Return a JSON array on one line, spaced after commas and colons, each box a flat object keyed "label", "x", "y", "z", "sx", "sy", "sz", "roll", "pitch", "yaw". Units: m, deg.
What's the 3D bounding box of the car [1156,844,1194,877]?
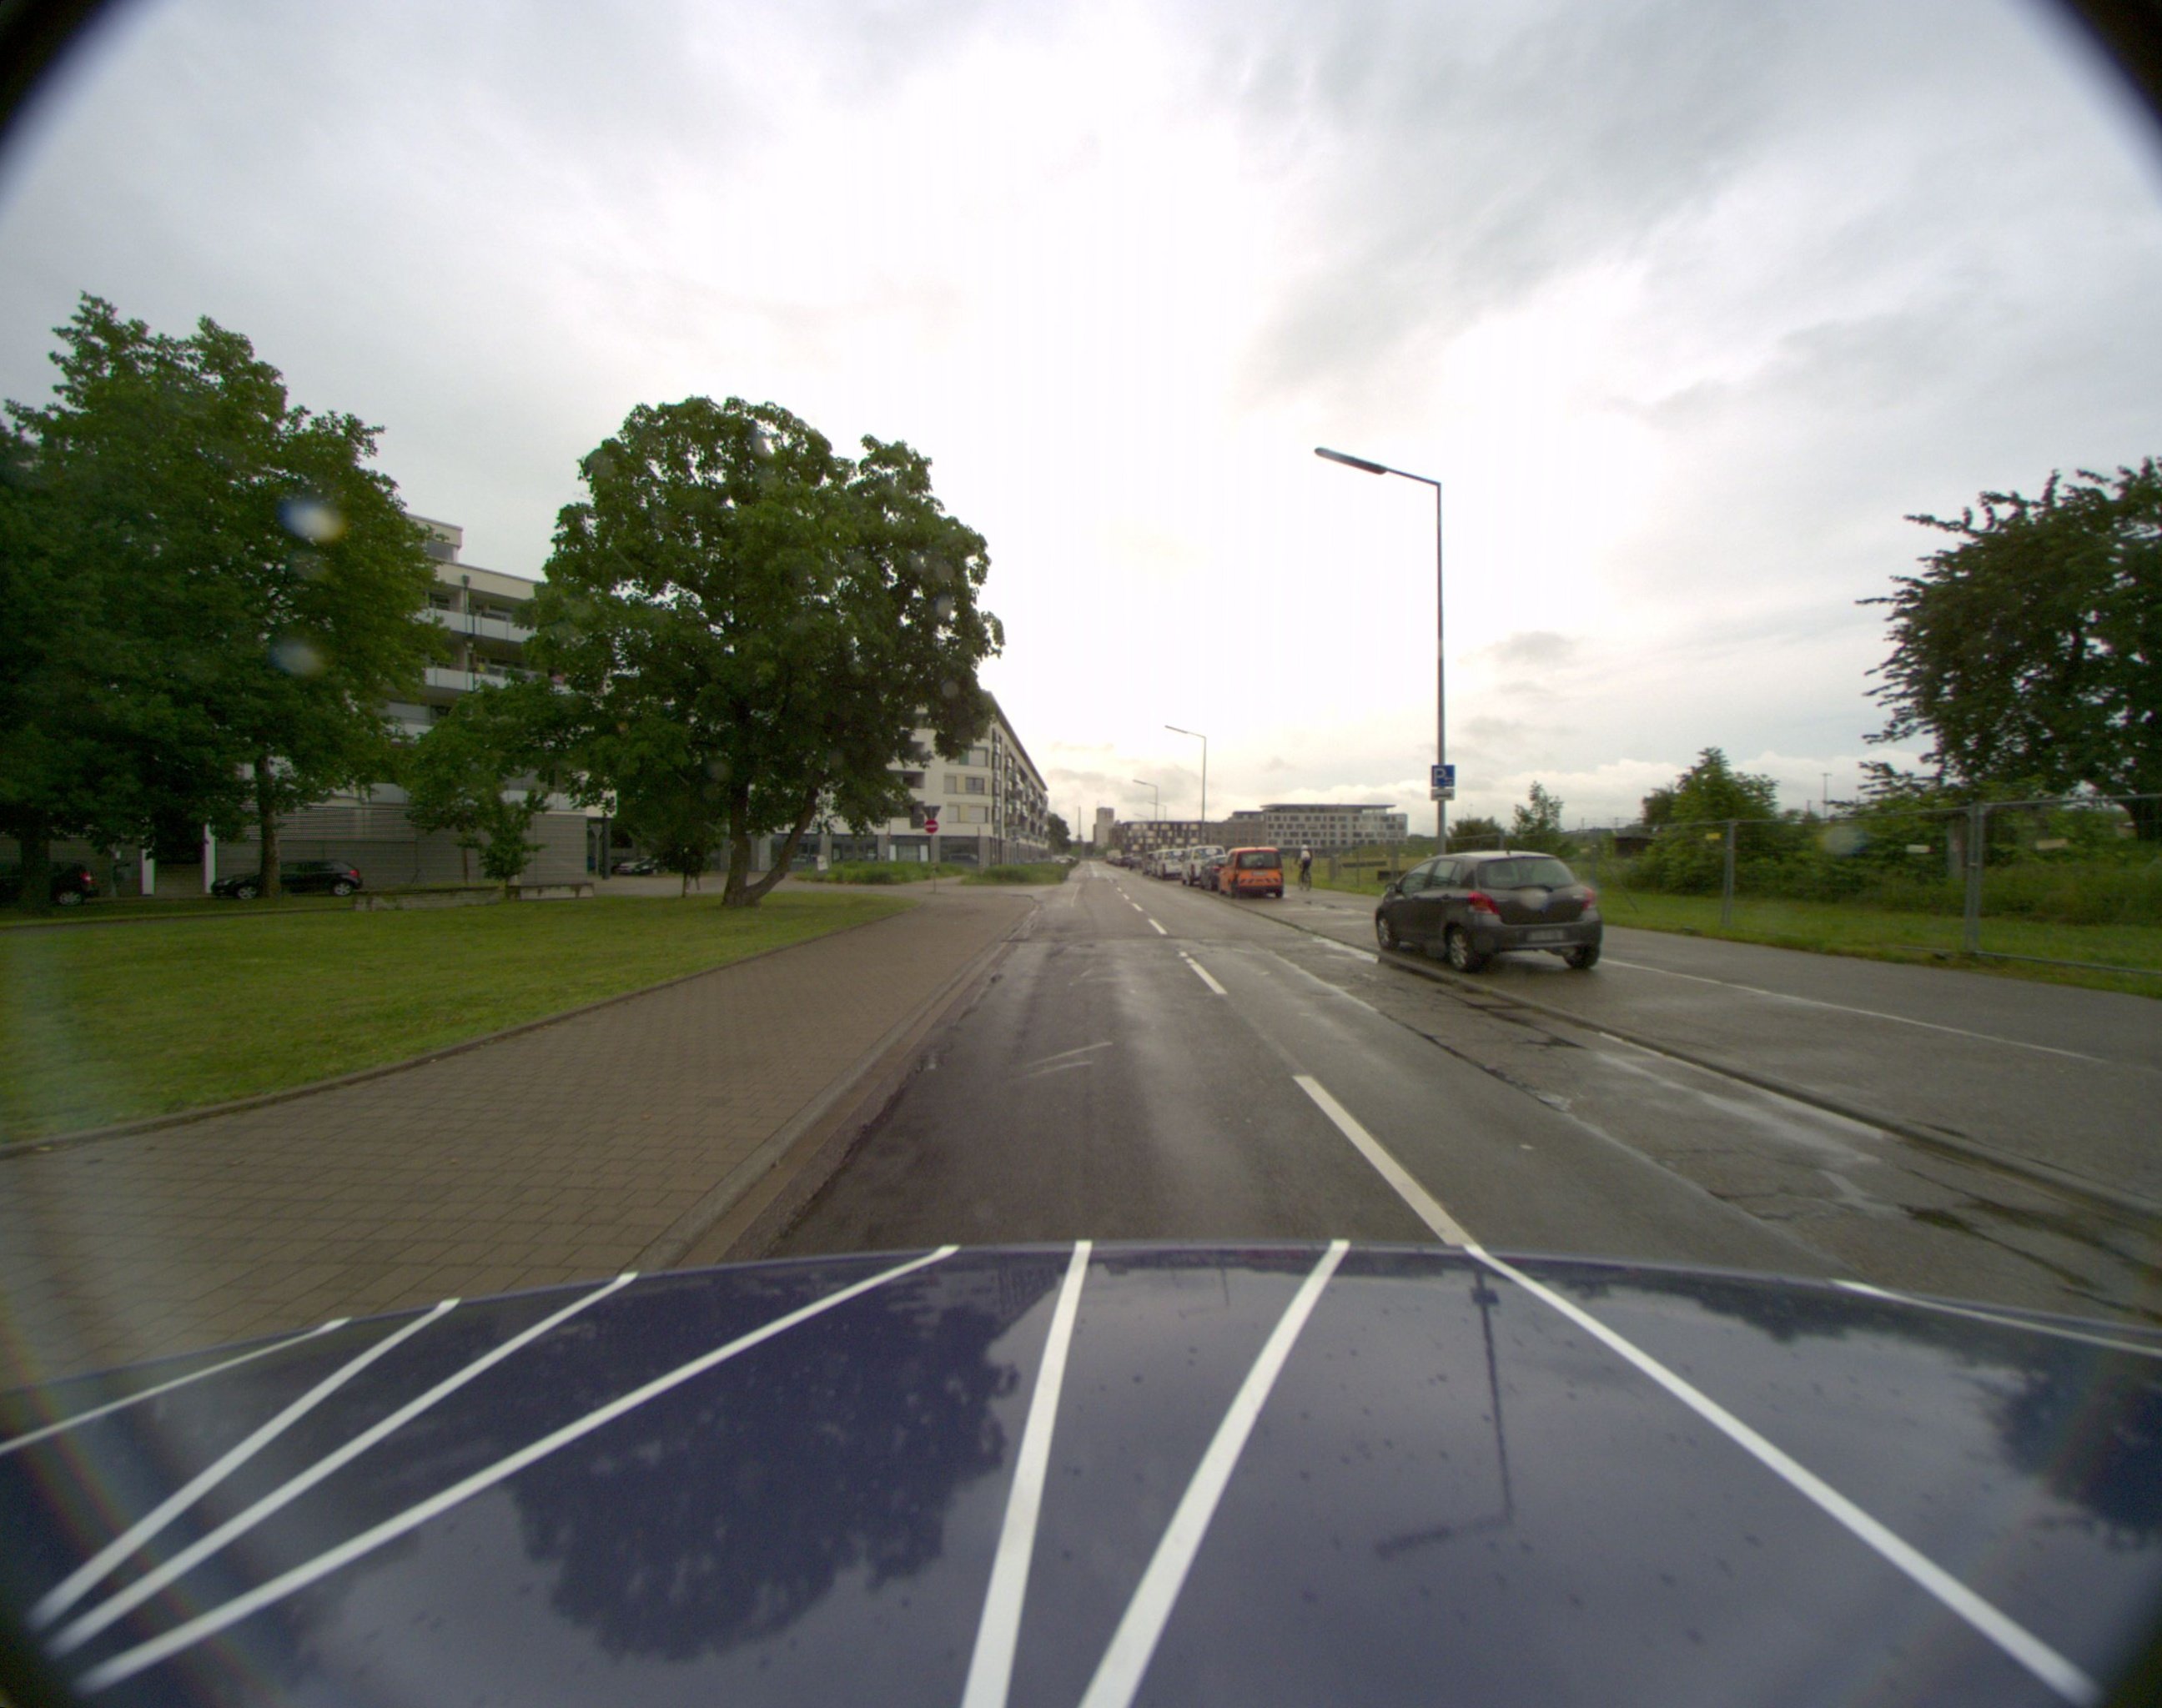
[{"label": "car", "x": 6.209, "y": 0.435, "z": 50.763, "sx": 1.964, "sy": 2.046, "sz": 5.274, "roll": -1, "pitch": 0, "yaw": 1}]

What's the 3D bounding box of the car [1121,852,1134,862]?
[{"label": "car", "x": 7.048, "y": 0.460, "z": 115.982, "sx": 1.757, "sy": 1.581, "sz": 4.133, "roll": 0, "pitch": 0, "yaw": 1}]

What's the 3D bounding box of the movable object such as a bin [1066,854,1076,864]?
[{"label": "movable object such as a bin", "x": -1.556, "y": 0.766, "z": 116.371, "sx": 1.499, "sy": 1.484, "sz": 1.155, "roll": 2, "pitch": 0, "yaw": 1}]

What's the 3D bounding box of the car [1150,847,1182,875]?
[{"label": "car", "x": 6.338, "y": 0.511, "z": 56.960, "sx": 1.899, "sy": 2.002, "sz": 5.258, "roll": 0, "pitch": 0, "yaw": 1}]

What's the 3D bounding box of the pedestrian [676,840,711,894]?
[{"label": "pedestrian", "x": -14.458, "y": 0.494, "z": 28.348, "sx": 0.967, "sy": 2.002, "sz": 0.622, "roll": 0, "pitch": 0, "yaw": 1}]

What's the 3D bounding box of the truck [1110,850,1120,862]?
[{"label": "truck", "x": 7.799, "y": 0.407, "z": 174.892, "sx": 2.180, "sy": 2.591, "sz": 6.131, "roll": -1, "pitch": 0, "yaw": 1}]

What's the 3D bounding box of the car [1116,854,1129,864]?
[{"label": "car", "x": 6.951, "y": 0.746, "z": 127.339, "sx": 1.842, "sy": 1.519, "sz": 4.670, "roll": -2, "pitch": 1, "yaw": 1}]

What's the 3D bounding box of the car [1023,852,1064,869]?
[{"label": "car", "x": -3.904, "y": 0.649, "z": 79.597, "sx": 4.100, "sy": 1.614, "sz": 1.966, "roll": 2, "pitch": 1, "yaw": -1}]

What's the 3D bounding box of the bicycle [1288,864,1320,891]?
[{"label": "bicycle", "x": 9.261, "y": 0.947, "z": 31.604, "sx": 0.718, "sy": 1.036, "sz": 2.144, "roll": -1, "pitch": 0, "yaw": 1}]

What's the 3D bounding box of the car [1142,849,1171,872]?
[{"label": "car", "x": 6.297, "y": 0.535, "z": 64.004, "sx": 1.961, "sy": 1.890, "sz": 4.995, "roll": -1, "pitch": 0, "yaw": 1}]

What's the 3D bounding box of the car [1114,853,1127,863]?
[{"label": "car", "x": 6.981, "y": 0.629, "z": 134.243, "sx": 1.857, "sy": 1.598, "sz": 4.988, "roll": -3, "pitch": 0, "yaw": 0}]

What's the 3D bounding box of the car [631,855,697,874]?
[{"label": "car", "x": -33.426, "y": 0.805, "z": 61.038, "sx": 1.809, "sy": 1.424, "sz": 4.531, "roll": 0, "pitch": 0, "yaw": 23}]

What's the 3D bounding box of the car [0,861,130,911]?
[{"label": "car", "x": -34.027, "y": 1.009, "z": 24.590, "sx": 1.729, "sy": 1.539, "sz": 4.009, "roll": 0, "pitch": 0, "yaw": 40}]

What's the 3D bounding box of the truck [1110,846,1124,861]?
[{"label": "truck", "x": 7.252, "y": -0.108, "z": 154.854, "sx": 2.442, "sy": 3.050, "sz": 6.700, "roll": -2, "pitch": 0, "yaw": 0}]

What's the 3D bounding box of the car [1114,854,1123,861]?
[{"label": "car", "x": 7.253, "y": 0.673, "z": 147.096, "sx": 1.676, "sy": 1.454, "sz": 4.157, "roll": 0, "pitch": 0, "yaw": 1}]

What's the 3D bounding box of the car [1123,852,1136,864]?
[{"label": "car", "x": 7.038, "y": 0.641, "z": 110.283, "sx": 1.756, "sy": 1.683, "sz": 4.882, "roll": 0, "pitch": 0, "yaw": 4}]

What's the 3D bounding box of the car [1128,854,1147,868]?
[{"label": "car", "x": 6.573, "y": 0.783, "z": 88.758, "sx": 1.852, "sy": 1.552, "sz": 4.152, "roll": -3, "pitch": 0, "yaw": 1}]

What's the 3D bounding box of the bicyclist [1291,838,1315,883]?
[{"label": "bicyclist", "x": 9.248, "y": 0.280, "z": 31.670, "sx": 0.700, "sy": 1.819, "sz": 1.008, "roll": -1, "pitch": 0, "yaw": 1}]

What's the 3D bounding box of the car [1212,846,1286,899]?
[{"label": "car", "x": 6.053, "y": 0.620, "z": 27.853, "sx": 1.944, "sy": 1.757, "sz": 4.331, "roll": 0, "pitch": 0, "yaw": 2}]

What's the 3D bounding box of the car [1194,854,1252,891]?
[{"label": "car", "x": 6.218, "y": 0.769, "z": 33.820, "sx": 1.688, "sy": 1.493, "sz": 4.892, "roll": 0, "pitch": 0, "yaw": 0}]

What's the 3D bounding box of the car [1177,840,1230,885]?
[{"label": "car", "x": 6.364, "y": 0.425, "z": 40.083, "sx": 1.947, "sy": 2.223, "sz": 5.557, "roll": 0, "pitch": 0, "yaw": 0}]

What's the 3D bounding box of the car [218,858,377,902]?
[{"label": "car", "x": -30.116, "y": 0.940, "z": 29.327, "sx": 1.729, "sy": 1.539, "sz": 4.130, "roll": 0, "pitch": 0, "yaw": 40}]

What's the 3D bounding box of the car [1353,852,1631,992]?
[{"label": "car", "x": 5.560, "y": 0.805, "z": 10.952, "sx": 1.808, "sy": 1.552, "sz": 4.033, "roll": -3, "pitch": 0, "yaw": 1}]

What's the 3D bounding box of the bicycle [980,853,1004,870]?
[{"label": "bicycle", "x": -8.127, "y": 0.704, "z": 69.435, "sx": 2.189, "sy": 1.514, "sz": 0.631, "roll": 1, "pitch": 1, "yaw": 21}]

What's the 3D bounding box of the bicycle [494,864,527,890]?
[{"label": "bicycle", "x": -25.837, "y": 1.024, "z": 34.393, "sx": 2.477, "sy": 1.081, "sz": 0.727, "roll": 0, "pitch": 0, "yaw": 42}]
